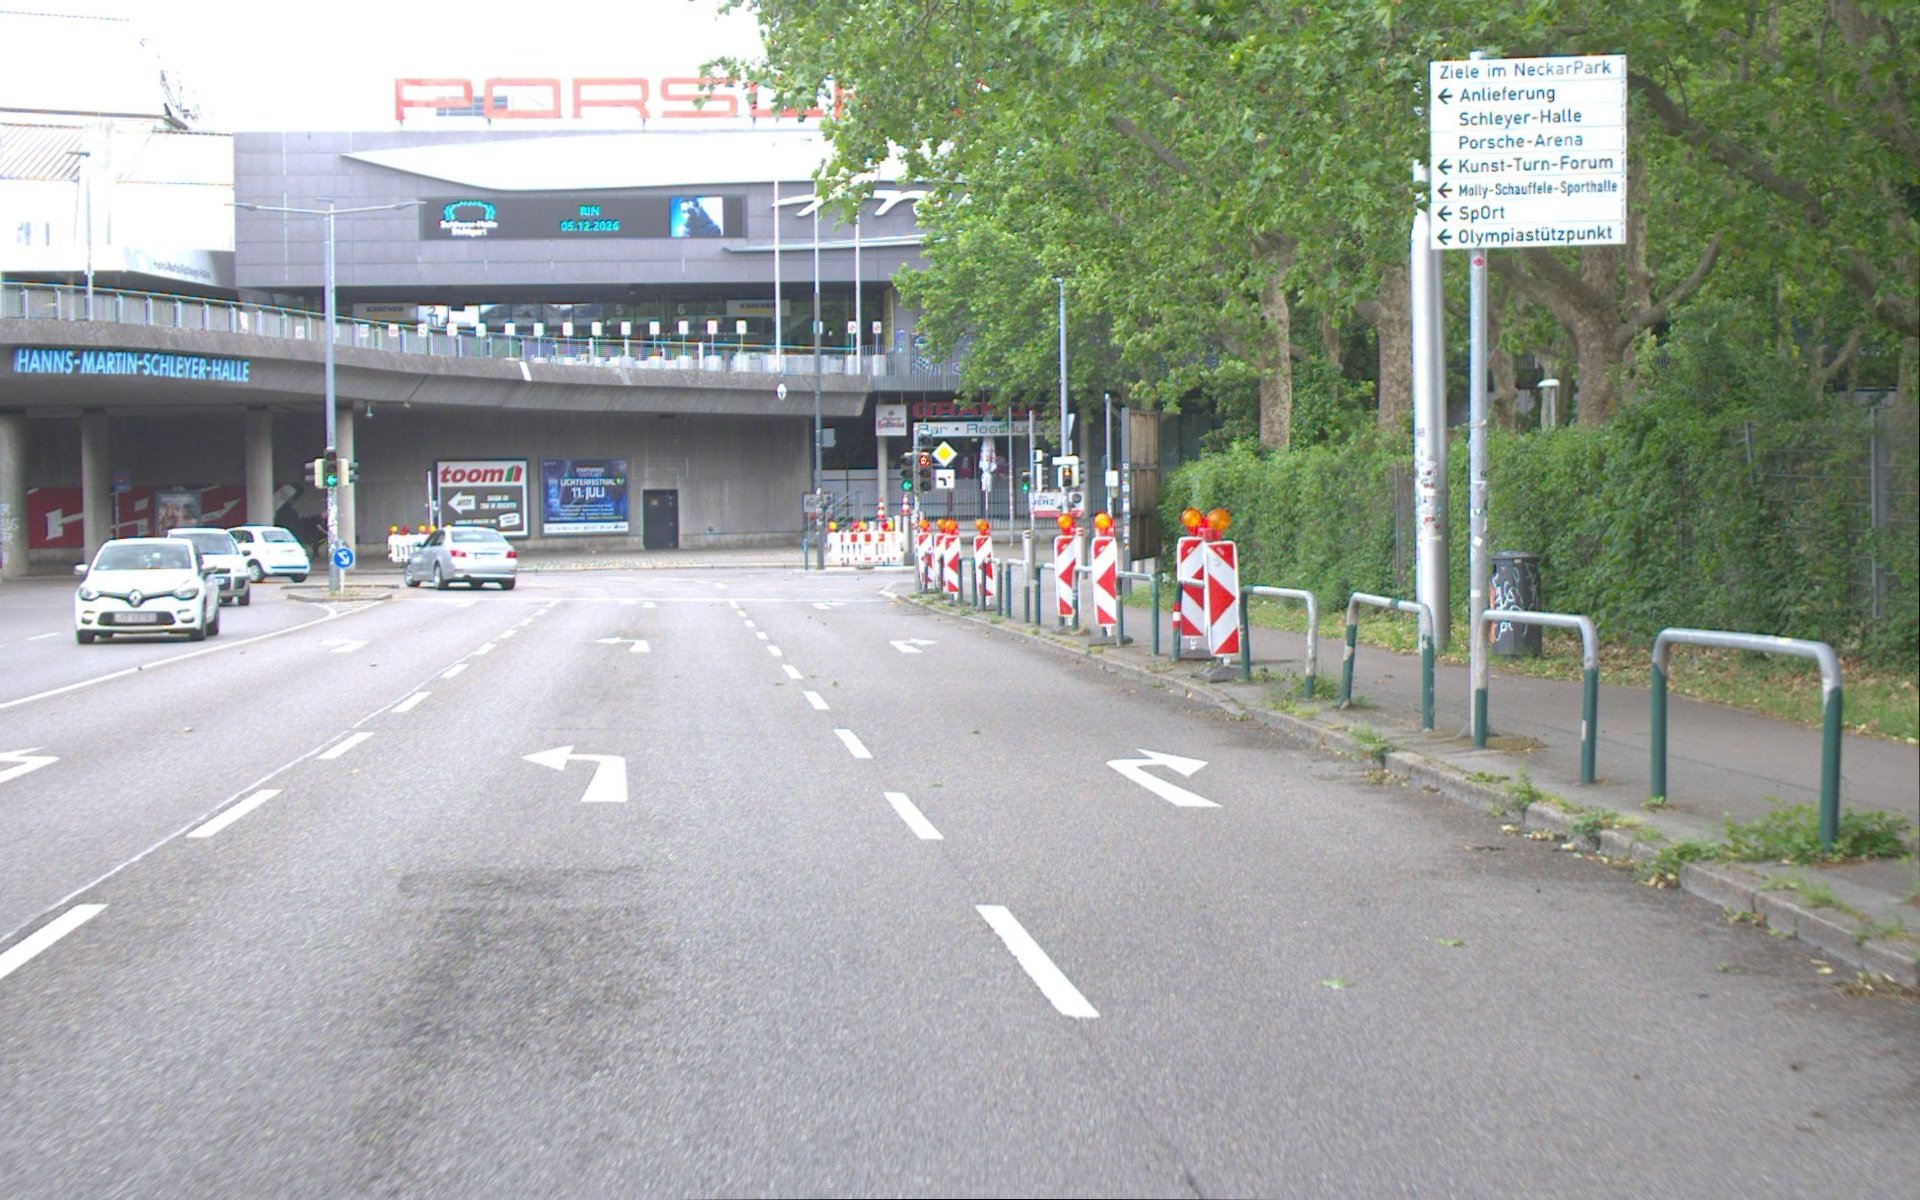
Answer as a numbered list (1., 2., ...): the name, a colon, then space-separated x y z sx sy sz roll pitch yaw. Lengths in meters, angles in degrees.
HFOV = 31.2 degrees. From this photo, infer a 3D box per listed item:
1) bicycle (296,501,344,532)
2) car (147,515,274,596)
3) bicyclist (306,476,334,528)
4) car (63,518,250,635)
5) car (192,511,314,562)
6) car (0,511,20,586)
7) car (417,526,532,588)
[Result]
1. bicycle: -20.993 -2.739 112.771 1.532 1.009 0.517 1 1 -8
2. car: -14.940 -0.899 68.705 1.993 1.520 4.001 -1 1 -5
3. bicyclist: -20.991 -3.214 112.770 0.851 1.692 0.767 1 1 -8
4. car: -11.284 -0.366 48.543 1.993 1.525 4.386 -2 1 -6
5. car: -18.632 -1.675 90.523 1.611 1.308 3.393 -1 2 -43
6. car: -24.151 -1.165 79.980 4.590 1.738 1.996 0 1 37
7. car: -11.414 -1.022 80.692 1.993 1.414 4.001 0 1 -18
